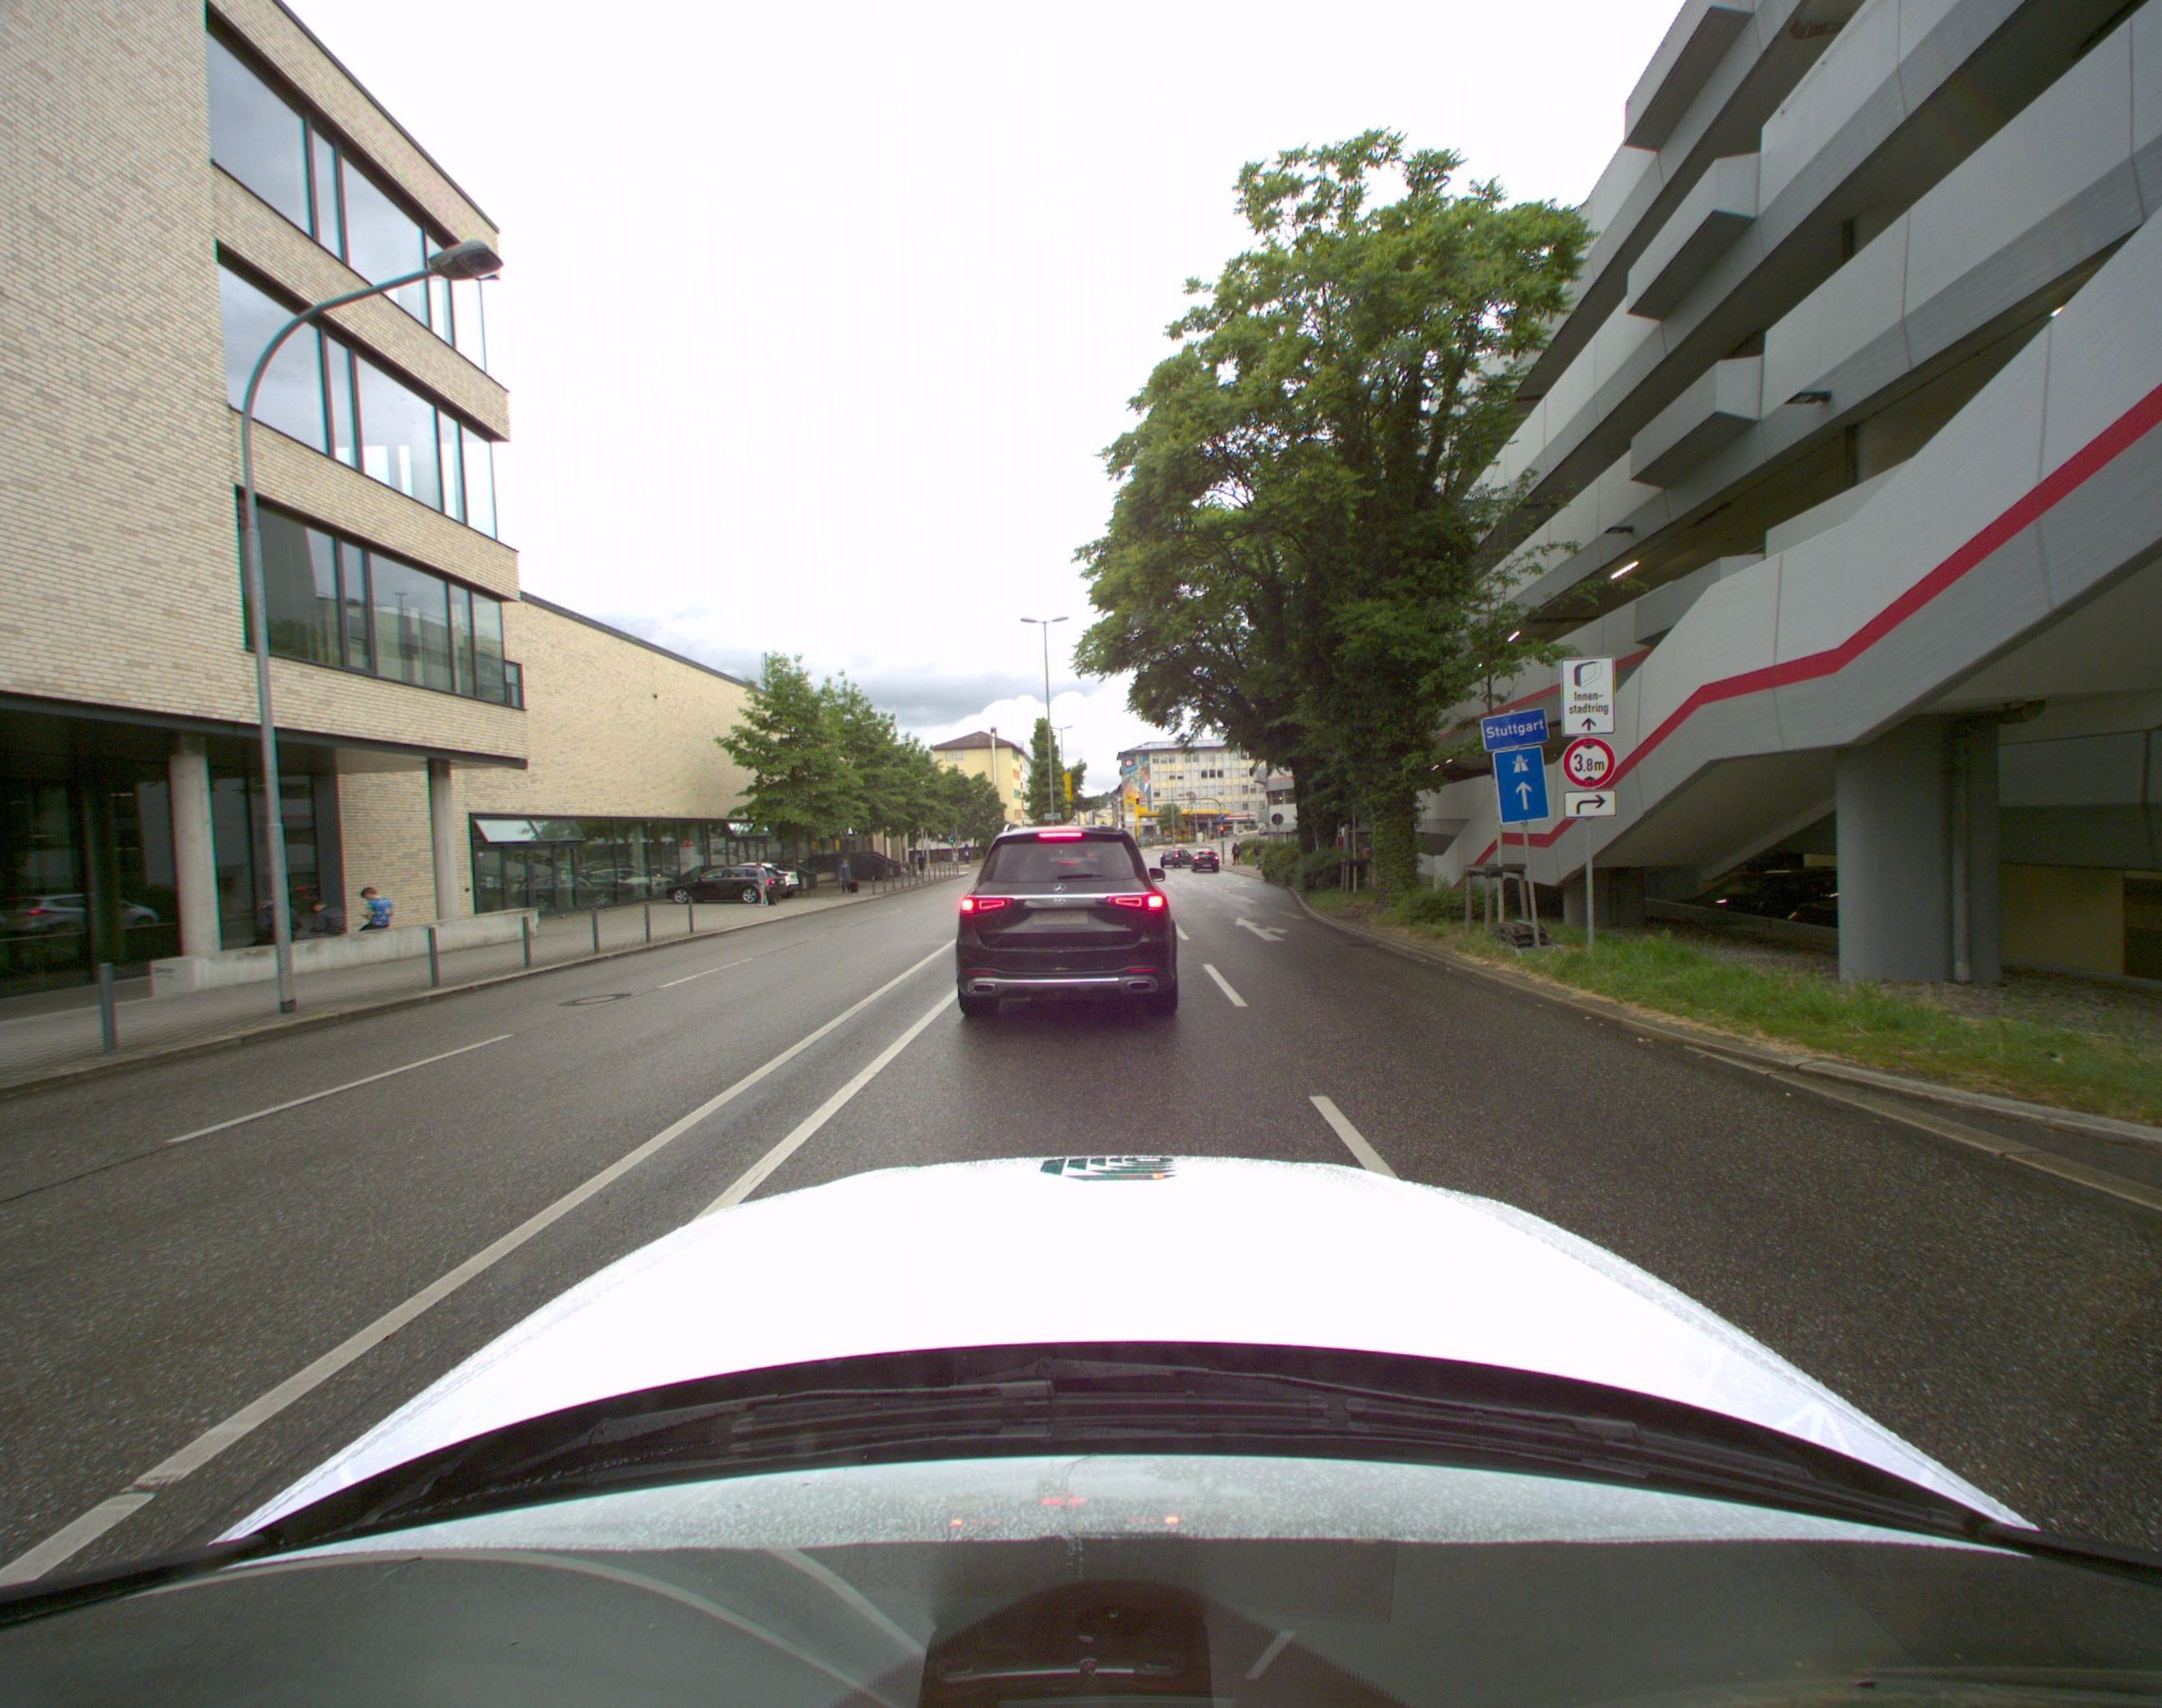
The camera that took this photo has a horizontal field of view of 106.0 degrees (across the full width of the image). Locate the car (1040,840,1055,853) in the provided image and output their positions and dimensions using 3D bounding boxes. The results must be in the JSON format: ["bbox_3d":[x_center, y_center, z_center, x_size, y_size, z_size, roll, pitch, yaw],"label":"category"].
[{"bbox_3d":[-4.946,-1.088,122.069,1.987,1.875,5.141,0,-1,0],"label":"car"}]

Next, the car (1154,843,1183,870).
[{"bbox_3d":[6.866,0.200,63.950,1.986,2.014,4.002,0,-1,2],"label":"car"}]

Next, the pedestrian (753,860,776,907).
[{"bbox_3d":[-11.690,1.084,30.077,0.673,1.697,0.479,0,-1,1],"label":"pedestrian"}]

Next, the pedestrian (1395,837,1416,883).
[{"bbox_3d":[10.904,0.191,27.374,0.548,1.532,0.489,0,-1,8],"label":"pedestrian"}]

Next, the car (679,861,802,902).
[{"bbox_3d":[-14.561,1.161,35.040,4.407,1.573,1.998,-1,1,-4],"label":"car"}]

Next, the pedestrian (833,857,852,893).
[{"bbox_3d":[-11.665,1.021,39.914,0.686,1.726,0.754,0,-3,0],"label":"pedestrian"}]

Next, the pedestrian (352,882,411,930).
[{"bbox_3d":[-13.508,0.997,15.733,0.679,0.886,0.524,0,-1,-2],"label":"pedestrian"}]

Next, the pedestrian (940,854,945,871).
[{"bbox_3d":[-13.281,0.846,77.976,0.398,1.644,0.567,0,-1,2],"label":"pedestrian"}]

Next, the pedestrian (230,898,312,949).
[{"bbox_3d":[-13.568,1.155,13.656,0.595,0.786,0.760,0,-1,1],"label":"pedestrian"}]

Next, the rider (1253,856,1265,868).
[{"bbox_3d":[11.341,0.518,51.836,0.689,0.740,0.634,0,-1,9],"label":"rider"}]

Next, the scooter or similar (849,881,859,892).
[{"bbox_3d":[-11.302,1.635,40.579,0.358,0.536,0.499,0,-2,1],"label":"scooter or similar"}]

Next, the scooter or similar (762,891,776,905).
[{"bbox_3d":[-11.689,1.645,30.484,0.279,0.501,0.616,0,-1,0],"label":"scooter or similar"}]

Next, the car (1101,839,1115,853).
[{"bbox_3d":[4.014,-1.110,121.510,1.988,2.014,3.998,0,-1,-1],"label":"car"}]

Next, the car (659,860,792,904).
[{"bbox_3d":[-14.244,1.105,32.831,4.461,1.587,1.997,-1,0,-5],"label":"car"}]

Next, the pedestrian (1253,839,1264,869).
[{"bbox_3d":[11.449,0.027,52.578,0.658,1.917,0.731,0,-1,12],"label":"pedestrian"}]

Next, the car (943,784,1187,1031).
[{"bbox_3d":[-0.111,0.452,8.668,1.987,2.014,4.000,0,-1,0],"label":"car"}]

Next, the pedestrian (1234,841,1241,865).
[{"bbox_3d":[12.570,-0.062,65.423,0.518,1.911,0.556,0,-1,1],"label":"pedestrian"}]

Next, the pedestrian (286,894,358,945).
[{"bbox_3d":[-13.516,1.163,14.517,0.584,0.845,0.727,-1,-1,1],"label":"pedestrian"}]

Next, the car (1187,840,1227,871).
[{"bbox_3d":[8.407,0.076,54.584,1.987,2.013,3.999,-1,0,0],"label":"car"}]

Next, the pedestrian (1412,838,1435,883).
[{"bbox_3d":[11.477,0.209,27.310,0.579,1.501,0.505,0,-1,6],"label":"pedestrian"}]

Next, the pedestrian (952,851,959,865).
[{"bbox_3d":[-13.127,0.435,85.209,0.709,1.462,0.598,0,-1,0],"label":"pedestrian"}]

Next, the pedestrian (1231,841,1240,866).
[{"bbox_3d":[11.959,-0.046,63.086,0.617,1.935,0.611,0,-1,3],"label":"pedestrian"}]

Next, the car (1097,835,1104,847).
[{"bbox_3d":[5.661,-3.884,239.492,1.987,2.007,4.013,0,23,0],"label":"car"}]

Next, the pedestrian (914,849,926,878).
[{"bbox_3d":[-11.048,0.651,55.909,0.586,2.014,0.749,1,-1,0],"label":"pedestrian"}]
